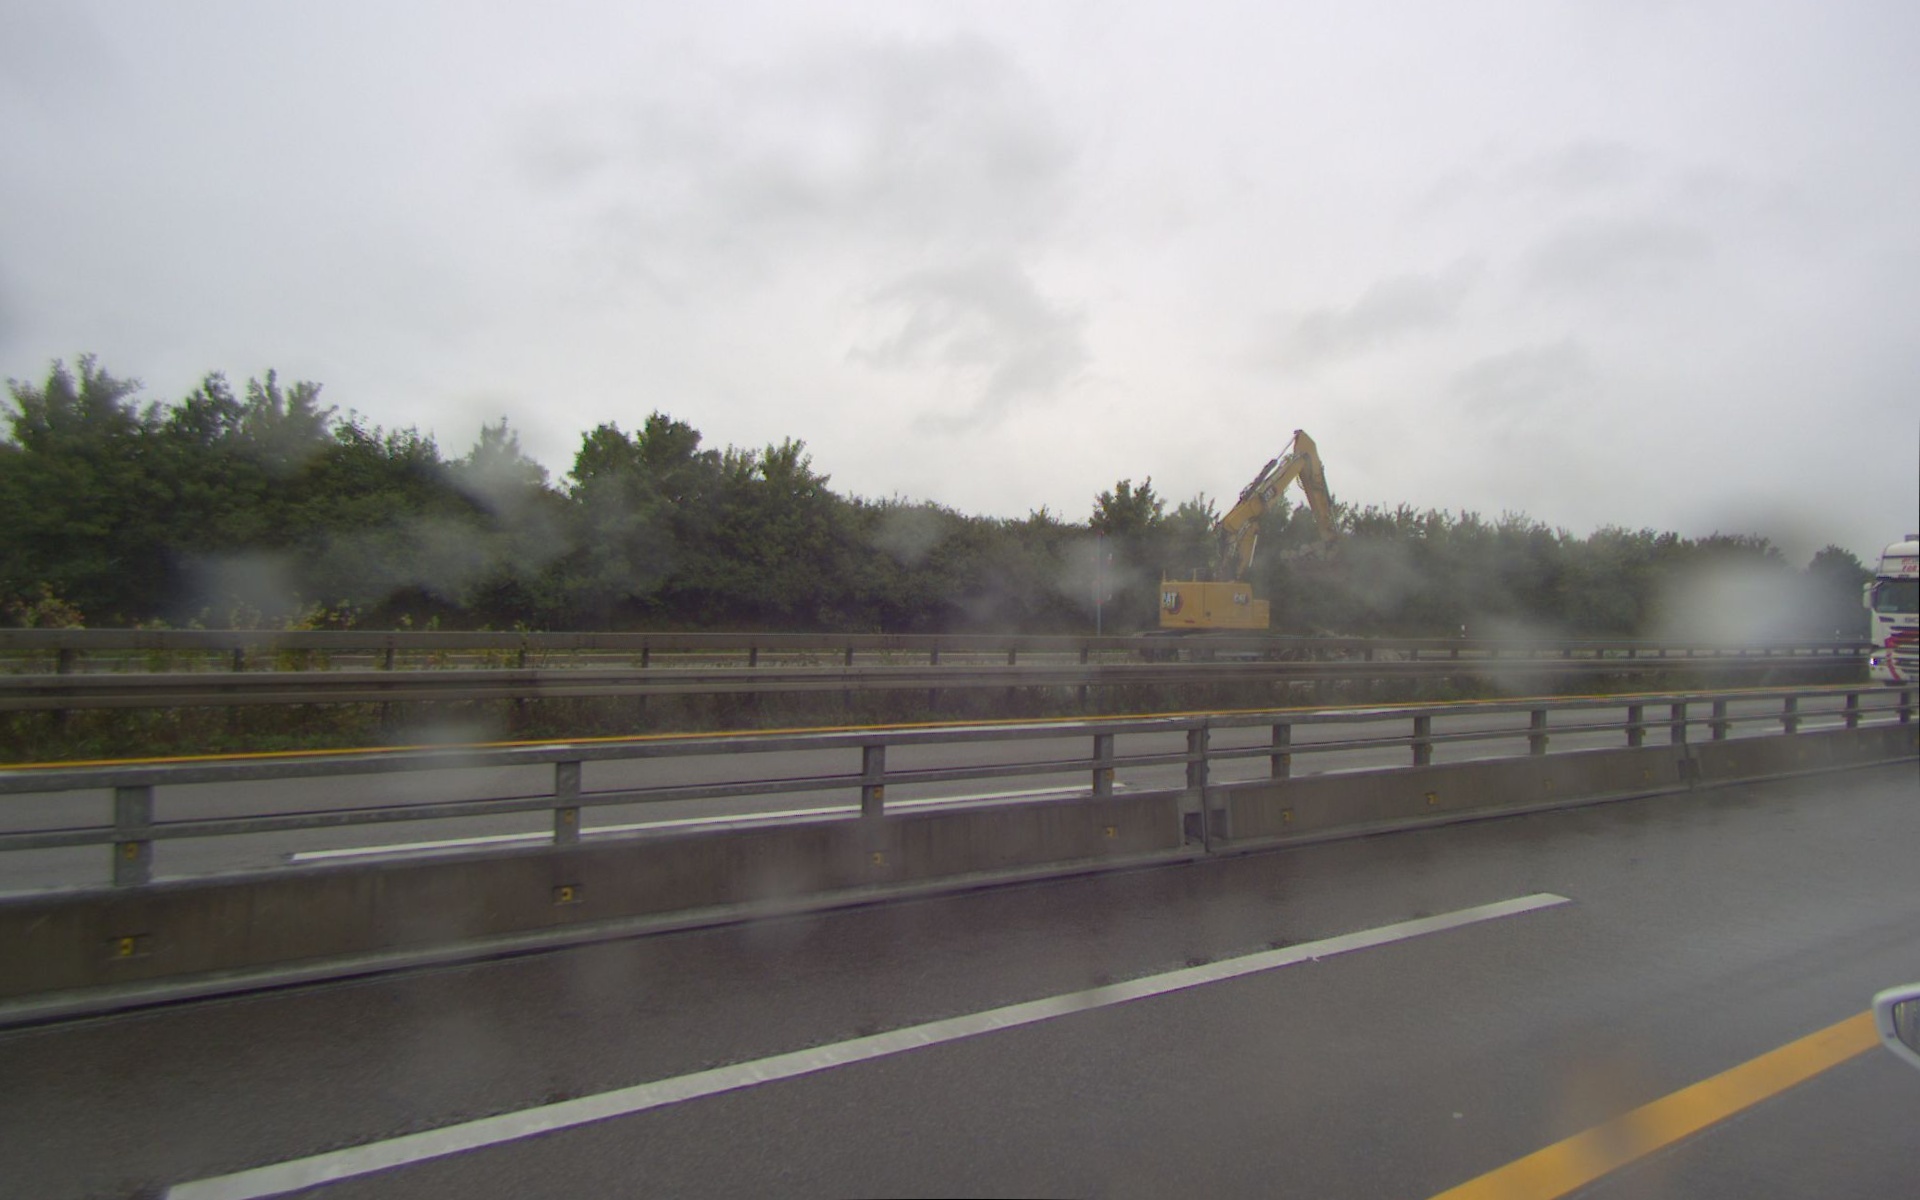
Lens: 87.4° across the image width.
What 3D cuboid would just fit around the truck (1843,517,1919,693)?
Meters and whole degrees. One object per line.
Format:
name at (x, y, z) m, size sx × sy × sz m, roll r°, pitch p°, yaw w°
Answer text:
truck at (26.530, 0.214, 26.305) m, size 6.716 × 4.328 × 2.996 m, roll 2°, pitch -2°, yaw -28°

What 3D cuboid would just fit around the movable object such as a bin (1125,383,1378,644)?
movable object such as a bin at (10.380, -2.708, 35.594) m, size 8.204 × 8.252 × 3.582 m, roll 2°, pitch 0°, yaw -28°
